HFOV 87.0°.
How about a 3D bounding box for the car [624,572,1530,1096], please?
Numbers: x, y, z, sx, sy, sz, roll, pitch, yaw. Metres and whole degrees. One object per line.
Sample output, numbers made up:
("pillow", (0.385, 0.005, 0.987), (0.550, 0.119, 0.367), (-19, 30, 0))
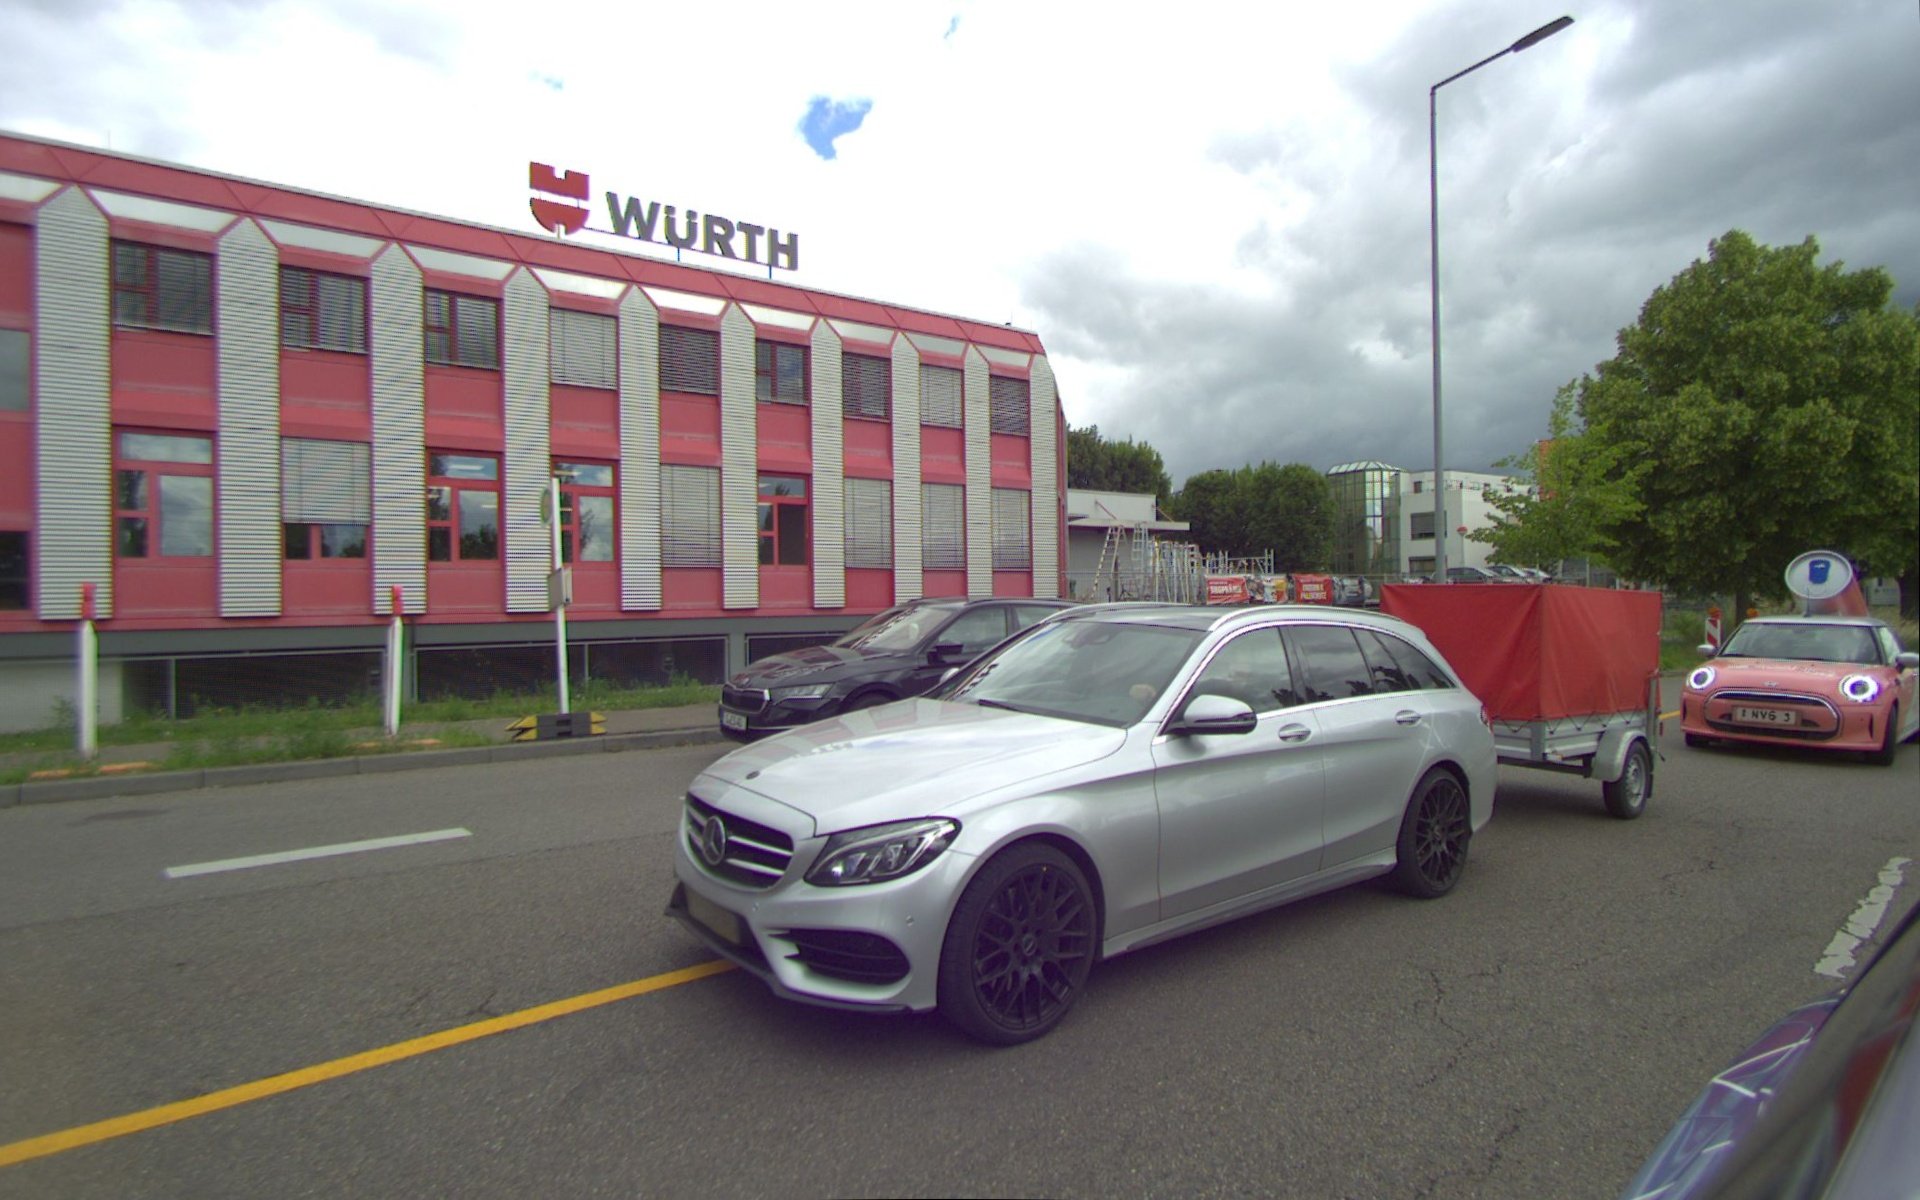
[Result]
("car", (0.865, 0.648, 4.852), (4.406, 1.466, 1.676), (0, 0, -38))

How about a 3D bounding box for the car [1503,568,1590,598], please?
("car", (33.096, -0.947, 57.177), (1.720, 1.502, 3.941), (2, -2, -32))

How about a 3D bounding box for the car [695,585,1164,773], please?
("car", (-0.201, 0.612, 9.768), (4.195, 1.451, 1.842), (0, 0, -33))

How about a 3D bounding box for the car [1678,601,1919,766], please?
("car", (9.347, 0.762, 10.973), (3.631, 1.476, 1.722), (0, 0, -40))

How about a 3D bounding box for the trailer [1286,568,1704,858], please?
("trailer", (3.894, 0.629, 7.200), (3.242, 1.614, 1.413), (1, 0, -38))

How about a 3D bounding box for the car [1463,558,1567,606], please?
("car", (24.851, -0.754, 45.429), (1.610, 1.984, 3.769), (2, -2, -32))
